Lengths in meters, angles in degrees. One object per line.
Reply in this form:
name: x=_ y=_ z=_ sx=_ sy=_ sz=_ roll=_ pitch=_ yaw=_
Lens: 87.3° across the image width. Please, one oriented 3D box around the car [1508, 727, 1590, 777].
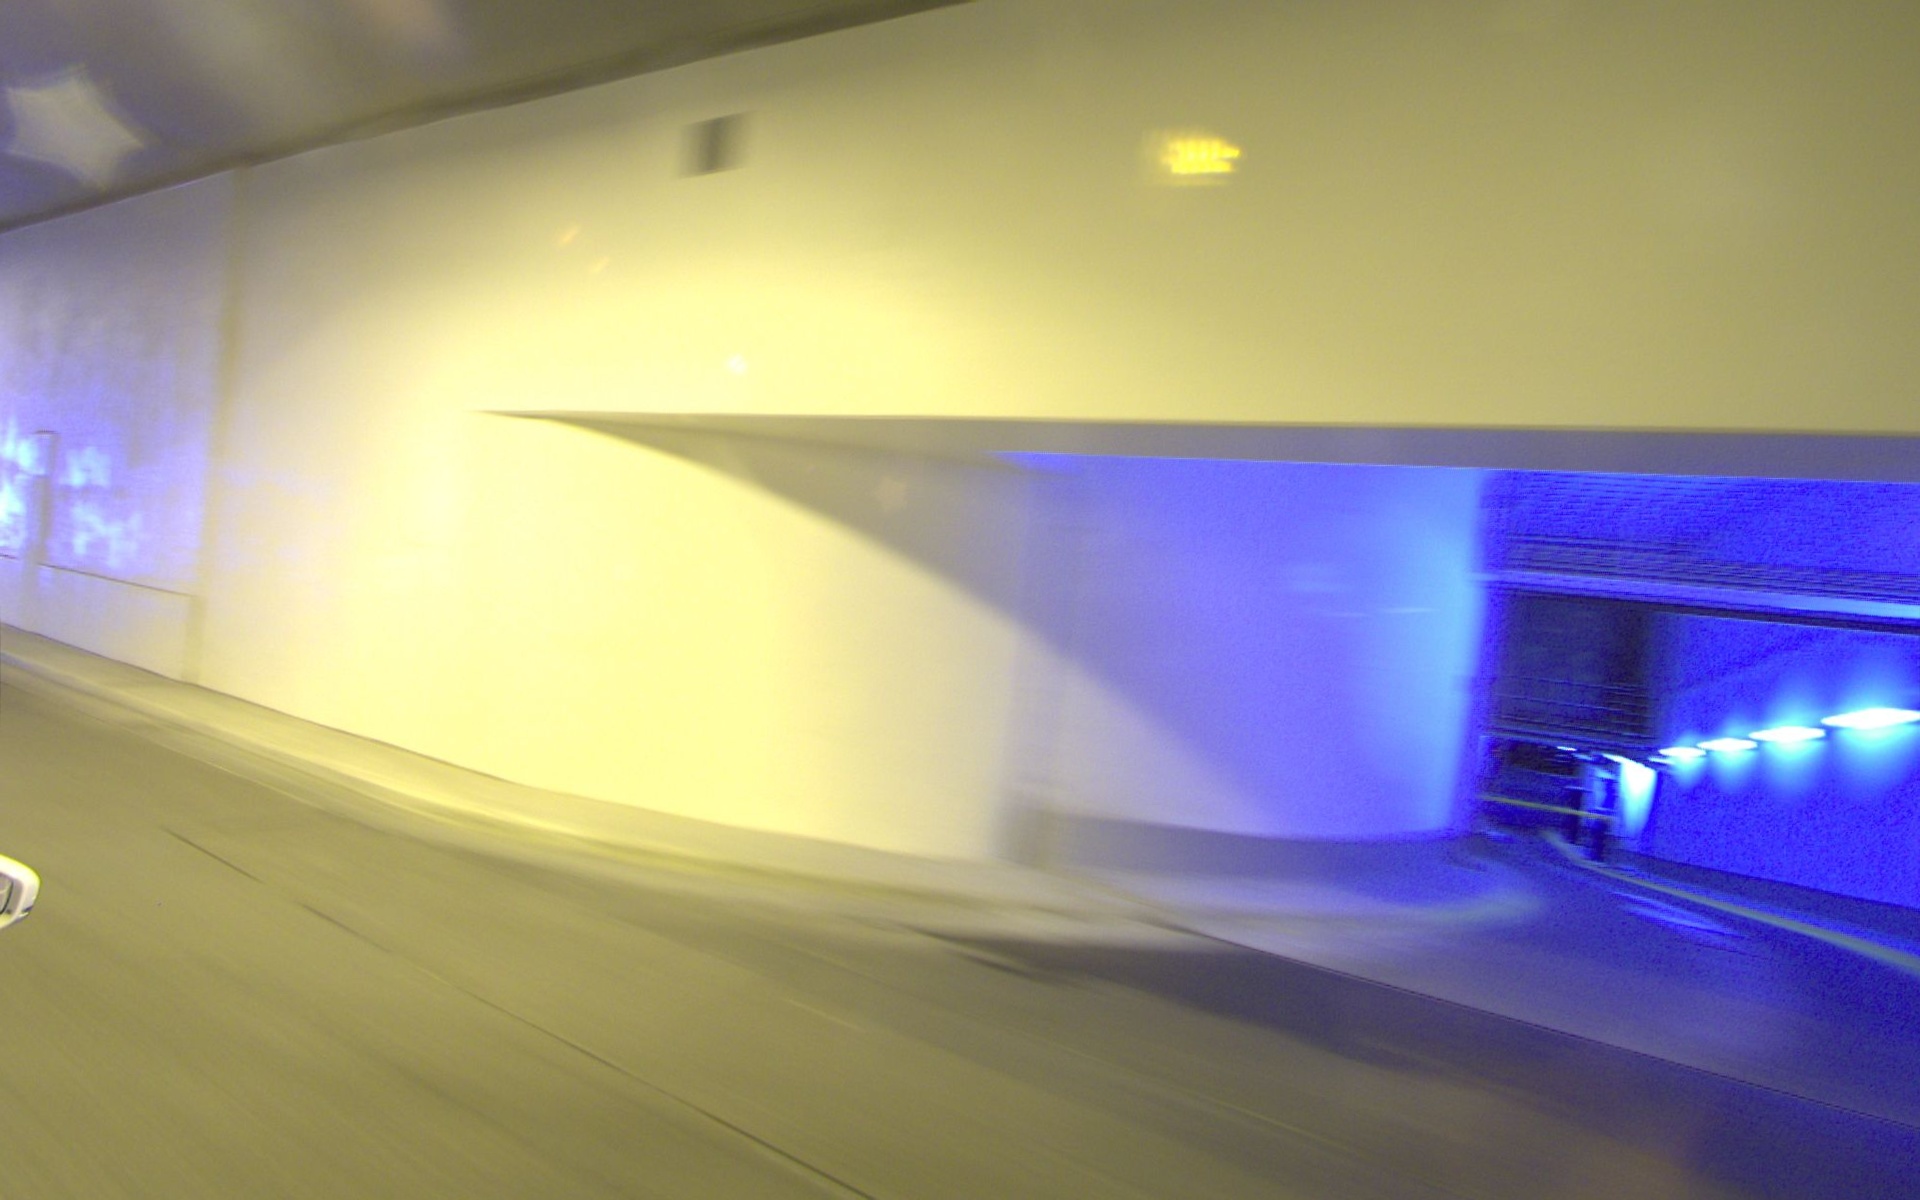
car: x=27.314 y=7.029 z=46.780 sx=1.833 sy=1.682 sz=4.005 roll=7 pitch=-2 yaw=10
